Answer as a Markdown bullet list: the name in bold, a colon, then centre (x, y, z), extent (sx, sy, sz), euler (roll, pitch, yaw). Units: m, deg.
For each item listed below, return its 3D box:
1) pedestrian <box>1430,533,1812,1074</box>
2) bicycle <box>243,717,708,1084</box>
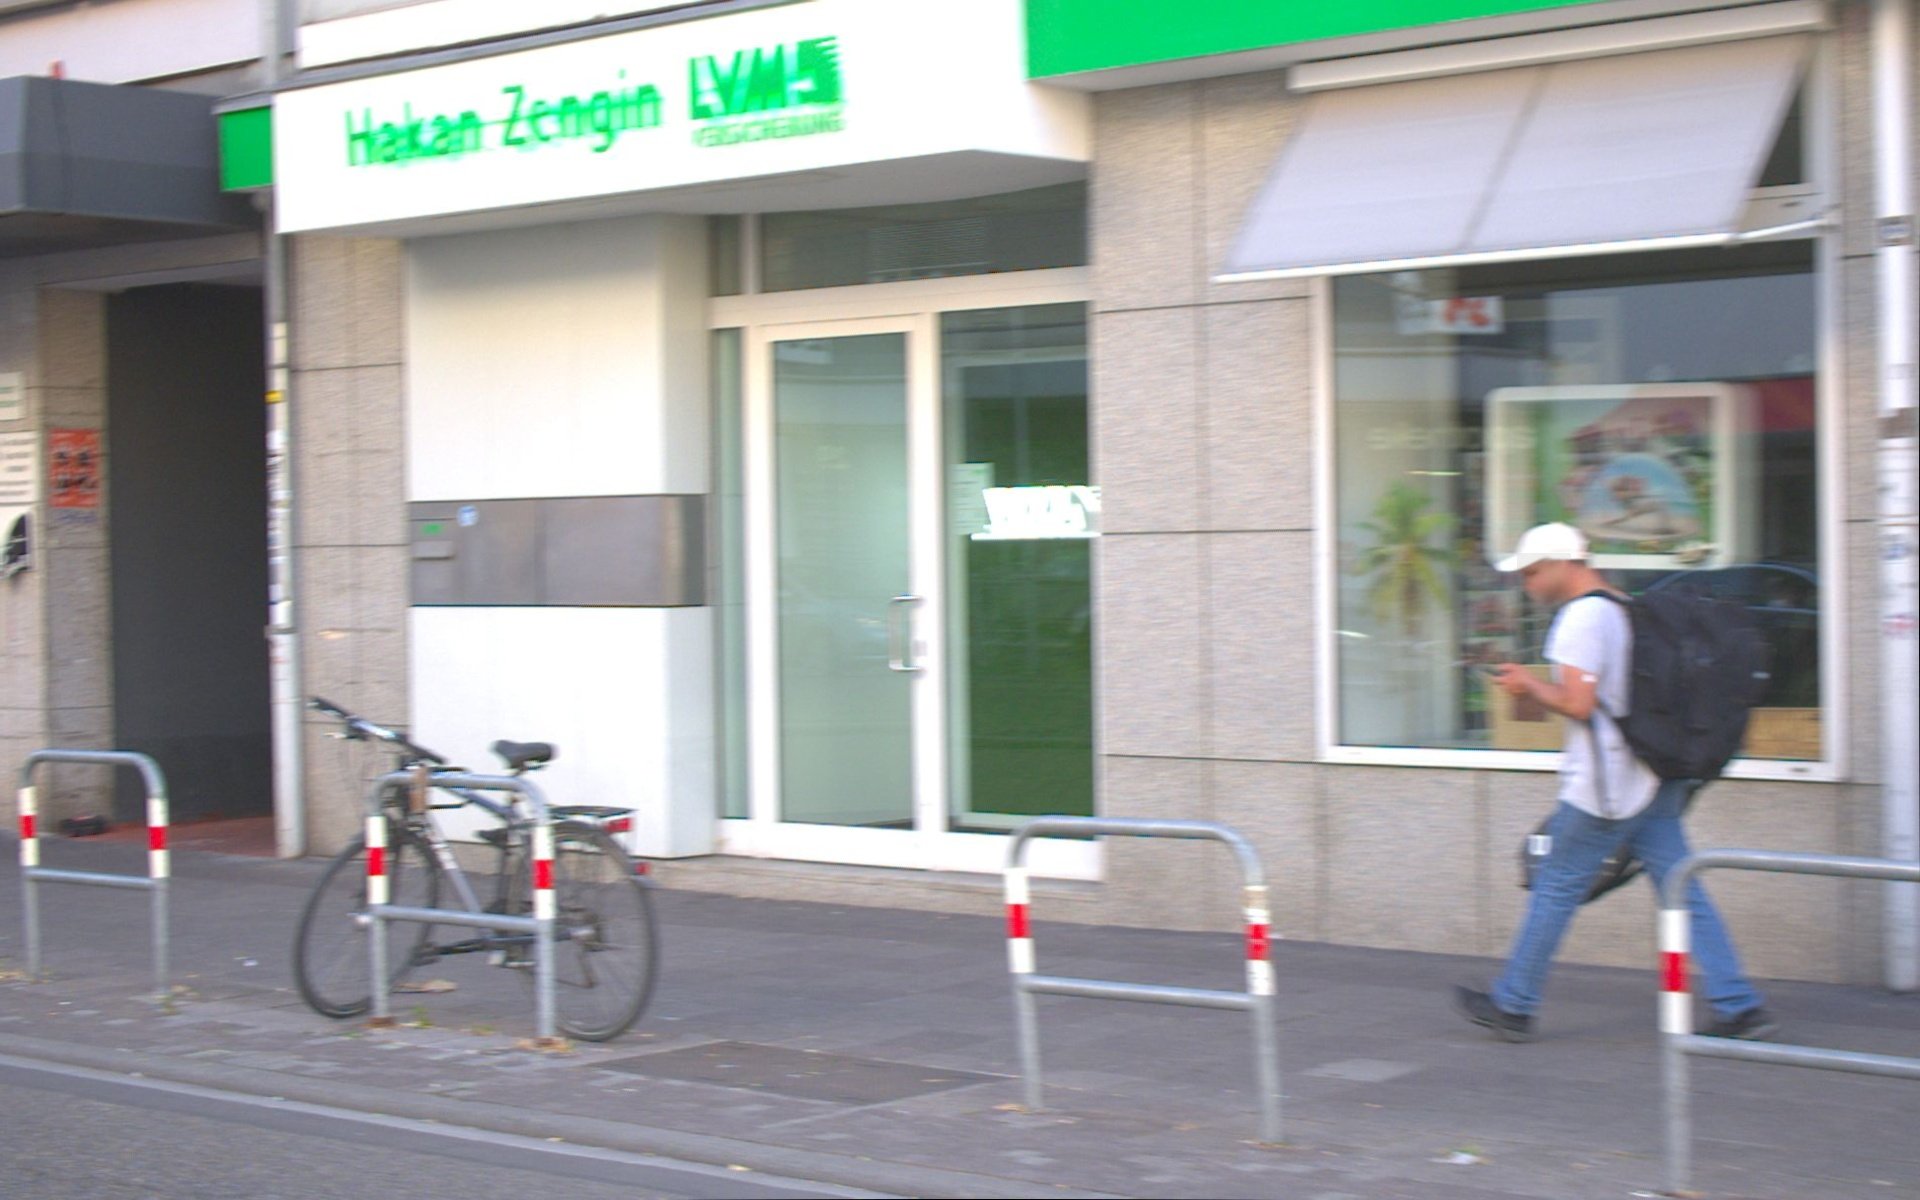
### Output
- **pedestrian**: centre (1.997, 0.580, 10.404), extent (0.869, 1.543, 0.697), euler (0, 1, 44)
- **bicycle**: centre (-1.617, 0.955, 11.325), extent (1.646, 1.086, 0.478), euler (-1, 2, 39)
